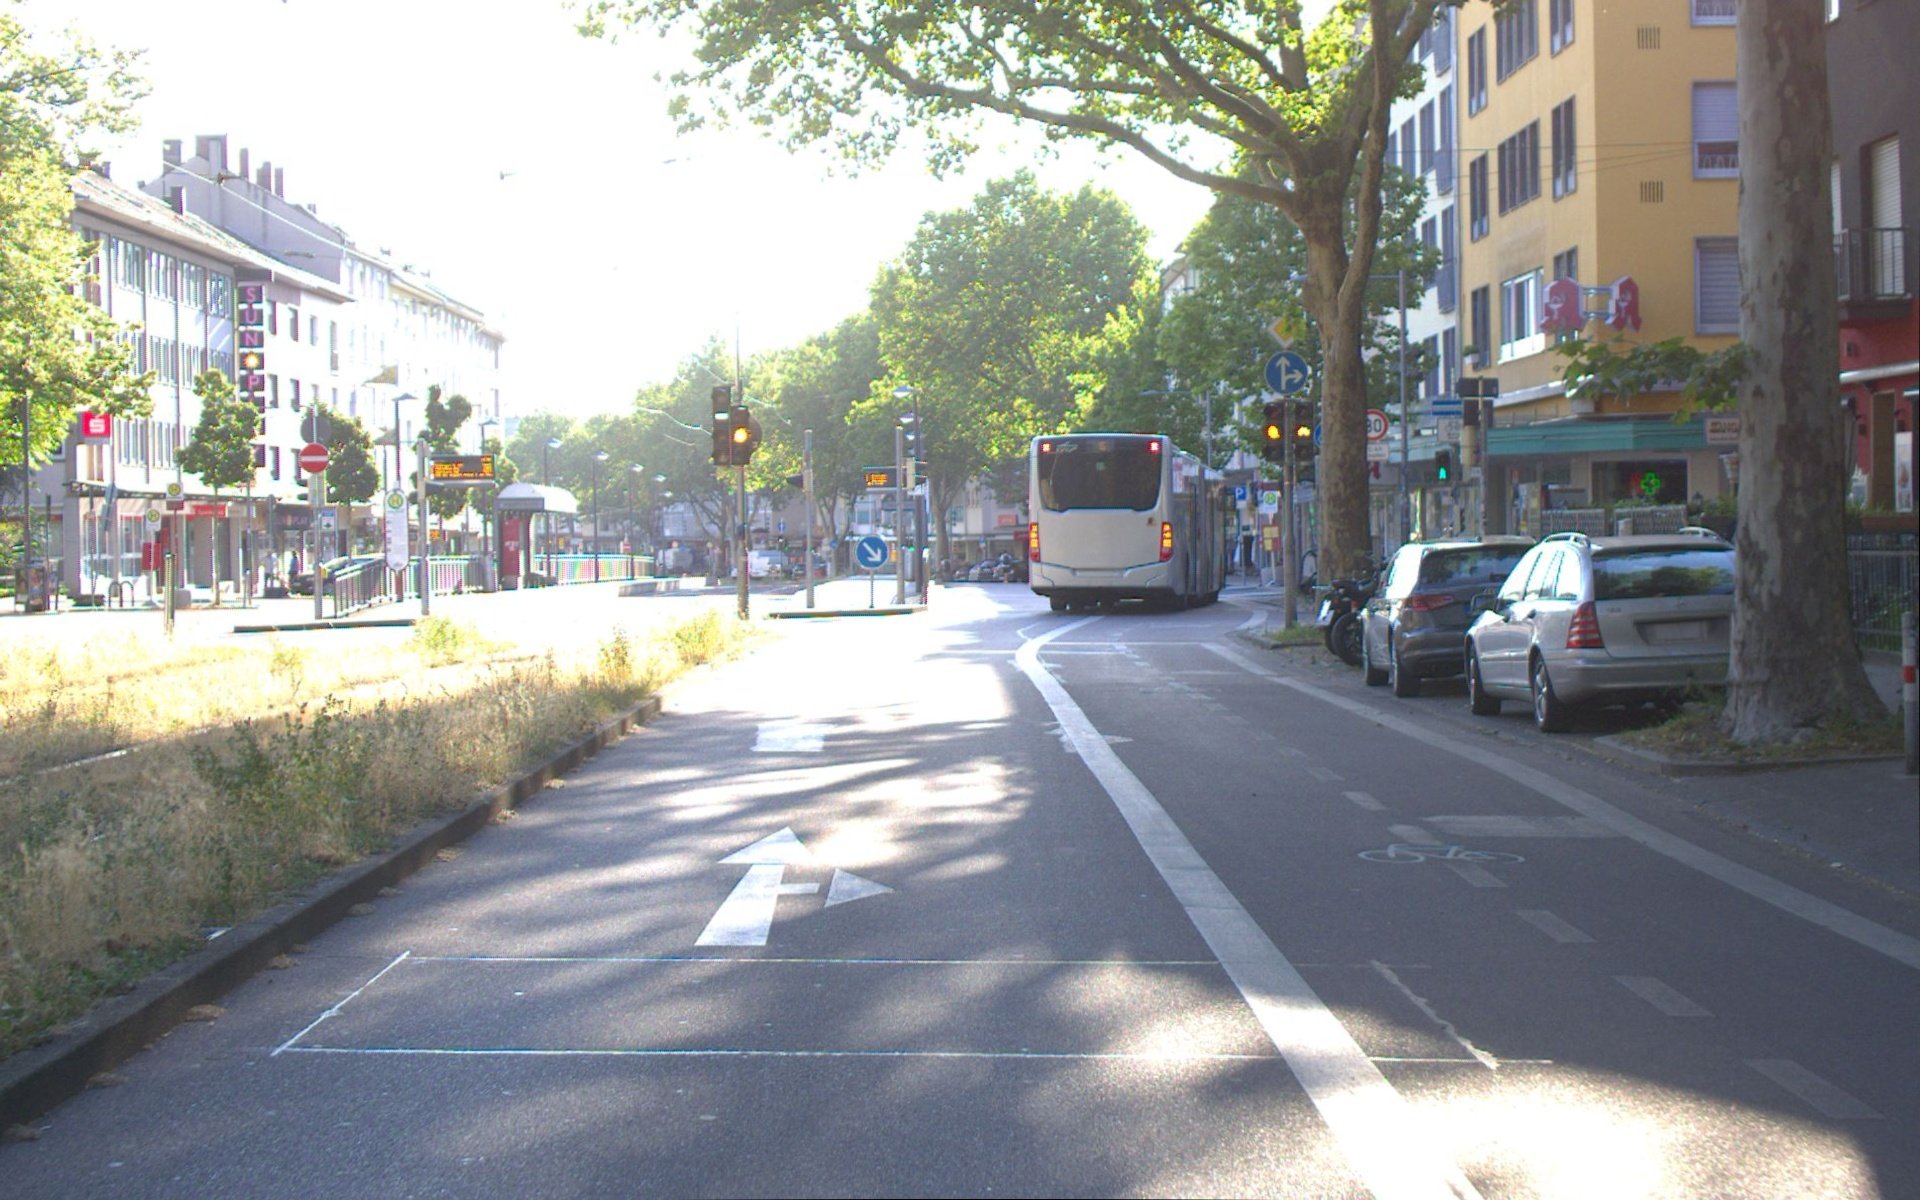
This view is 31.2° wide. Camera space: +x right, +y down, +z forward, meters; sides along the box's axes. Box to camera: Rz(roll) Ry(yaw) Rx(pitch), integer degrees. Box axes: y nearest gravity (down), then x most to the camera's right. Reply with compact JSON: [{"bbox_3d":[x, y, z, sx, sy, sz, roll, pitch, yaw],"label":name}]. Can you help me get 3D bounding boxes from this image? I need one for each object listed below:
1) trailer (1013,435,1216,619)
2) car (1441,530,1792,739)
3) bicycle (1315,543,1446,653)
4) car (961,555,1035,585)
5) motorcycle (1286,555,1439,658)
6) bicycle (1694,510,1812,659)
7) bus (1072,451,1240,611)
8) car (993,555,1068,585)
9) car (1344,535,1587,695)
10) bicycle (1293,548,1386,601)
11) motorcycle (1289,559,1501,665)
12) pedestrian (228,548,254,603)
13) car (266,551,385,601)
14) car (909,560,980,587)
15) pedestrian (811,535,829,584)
[{"bbox_3d":[2.998,-1.318,63.903,2.813,3.099,8.791,2,1,8],"label":"trailer"},{"bbox_3d":[4.936,0.196,26.452,1.674,1.446,4.571,-1,1,-2],"label":"car"},{"bbox_3d":[5.098,-0.034,41.616,0.695,1.199,1.843,2,5,39],"label":"bicycle"},{"bbox_3d":[2.231,-1.767,200.334,3.889,1.693,1.833,-1,1,-28],"label":"car"},{"bbox_3d":[4.725,0.061,40.242,1.993,1.148,0.601,-2,2,-42],"label":"motorcycle"},{"bbox_3d":[7.946,-0.168,34.544,0.607,1.422,2.396,2,1,0],"label":"bicycle"},{"bbox_3d":[4.252,-1.429,72.766,2.813,3.091,9.091,2,1,8],"label":"bus"},{"bbox_3d":[4.044,-1.730,197.216,3.889,1.693,1.833,-1,1,-28],"label":"car"},{"bbox_3d":[4.734,0.091,32.719,1.710,1.392,4.321,-1,1,1],"label":"car"},{"bbox_3d":[7.675,-0.522,69.497,1.772,1.018,0.694,-2,1,0],"label":"bicycle"},{"bbox_3d":[4.821,0.121,38.066,2.205,1.059,0.767,-3,2,-22],"label":"motorcycle"},{"bbox_3d":[-26.568,-0.892,127.062,0.708,2.007,0.949,-1,1,0],"label":"pedestrian"},{"bbox_3d":[-23.736,-0.909,128.597,3.986,1.809,2.000,-1,1,-26],"label":"car"},{"bbox_3d":[-0.918,-1.589,204.787,3.889,1.591,1.691,-1,1,-28],"label":"car"},{"bbox_3d":[-2.528,-0.737,62.077,0.291,0.872,0.344,2,1,-3],"label":"pedestrian"}]
